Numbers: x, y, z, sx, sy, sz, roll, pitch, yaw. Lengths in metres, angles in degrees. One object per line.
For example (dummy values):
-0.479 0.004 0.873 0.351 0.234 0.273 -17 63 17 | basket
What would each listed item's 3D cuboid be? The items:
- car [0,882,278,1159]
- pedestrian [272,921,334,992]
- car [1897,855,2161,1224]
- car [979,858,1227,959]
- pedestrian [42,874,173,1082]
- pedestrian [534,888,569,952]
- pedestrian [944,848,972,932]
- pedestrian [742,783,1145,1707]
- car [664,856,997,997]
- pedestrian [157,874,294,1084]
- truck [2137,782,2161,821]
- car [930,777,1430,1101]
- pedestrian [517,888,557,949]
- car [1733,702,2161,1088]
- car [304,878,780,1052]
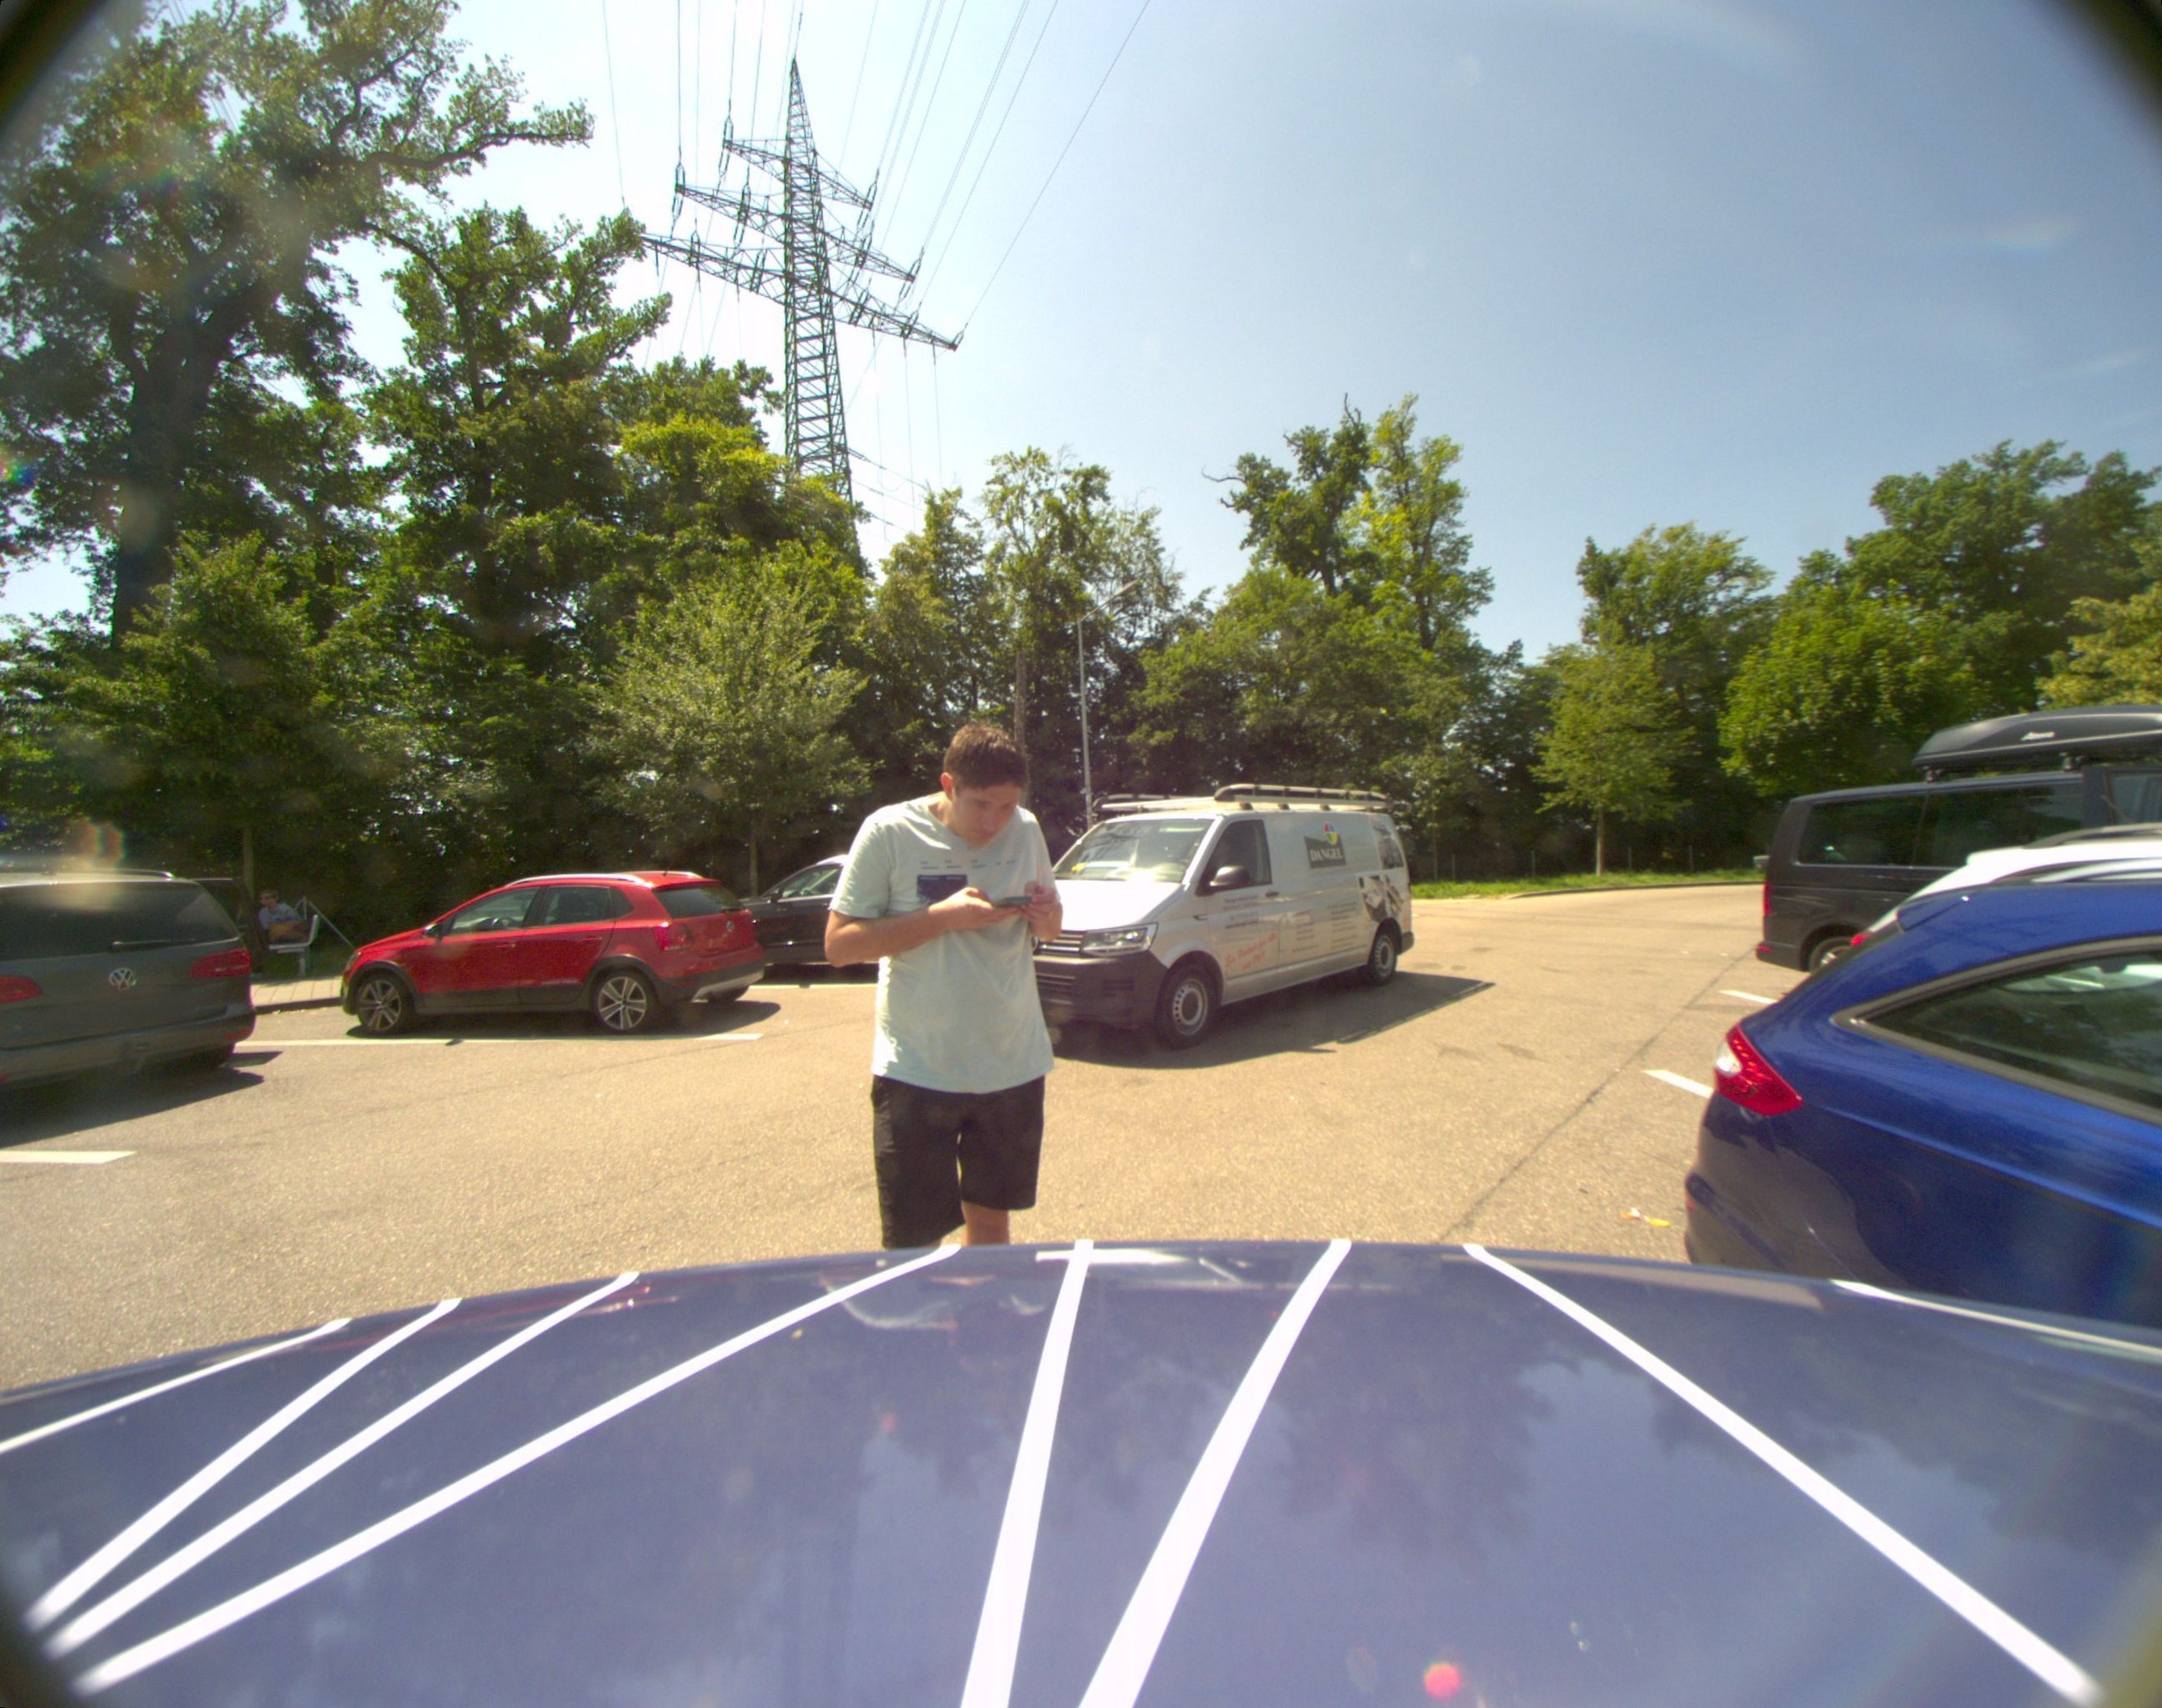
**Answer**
-8.367 1.102 5.431 3.903 1.607 1.705 -2 1 11 | car
-10.784 1.404 10.543 0.503 0.874 0.512 -3 1 -39 | pedestrian
4.716 0.692 2.204 1.344 1.352 3.114 -2 0 1 | car
0.397 0.862 12.619 3.773 1.445 1.848 -2 0 4 | car
-8.488 1.048 6.636 0.436 1.712 0.511 -2 1 17 | pedestrian
-10.131 1.263 14.549 0.366 1.186 0.356 -2 1 21 | pedestrian
-2.934 0.846 18.079 0.573 1.942 0.430 -2 0 -11 | pedestrian
-0.353 0.775 1.884 0.741 1.818 0.613 -2 0 -34 | pedestrian
-3.187 0.901 10.228 3.866 1.607 1.709 -2 0 0 | car
-7.432 1.045 6.614 0.481 1.712 0.589 -2 1 22 | pedestrian
40.284 -1.975 27.066 1.168 1.367 2.882 -2 -1 -19 | truck
1.381 0.515 7.459 5.445 2.092 1.839 -2 1 -44 | car
-10.996 1.288 15.358 0.413 1.186 0.443 -2 1 12 | pedestrian
7.274 0.229 5.229 1.788 2.304 4.084 -2 0 -5 | car
-5.245 1.050 7.659 3.745 1.458 1.621 -2 0 7 | car
